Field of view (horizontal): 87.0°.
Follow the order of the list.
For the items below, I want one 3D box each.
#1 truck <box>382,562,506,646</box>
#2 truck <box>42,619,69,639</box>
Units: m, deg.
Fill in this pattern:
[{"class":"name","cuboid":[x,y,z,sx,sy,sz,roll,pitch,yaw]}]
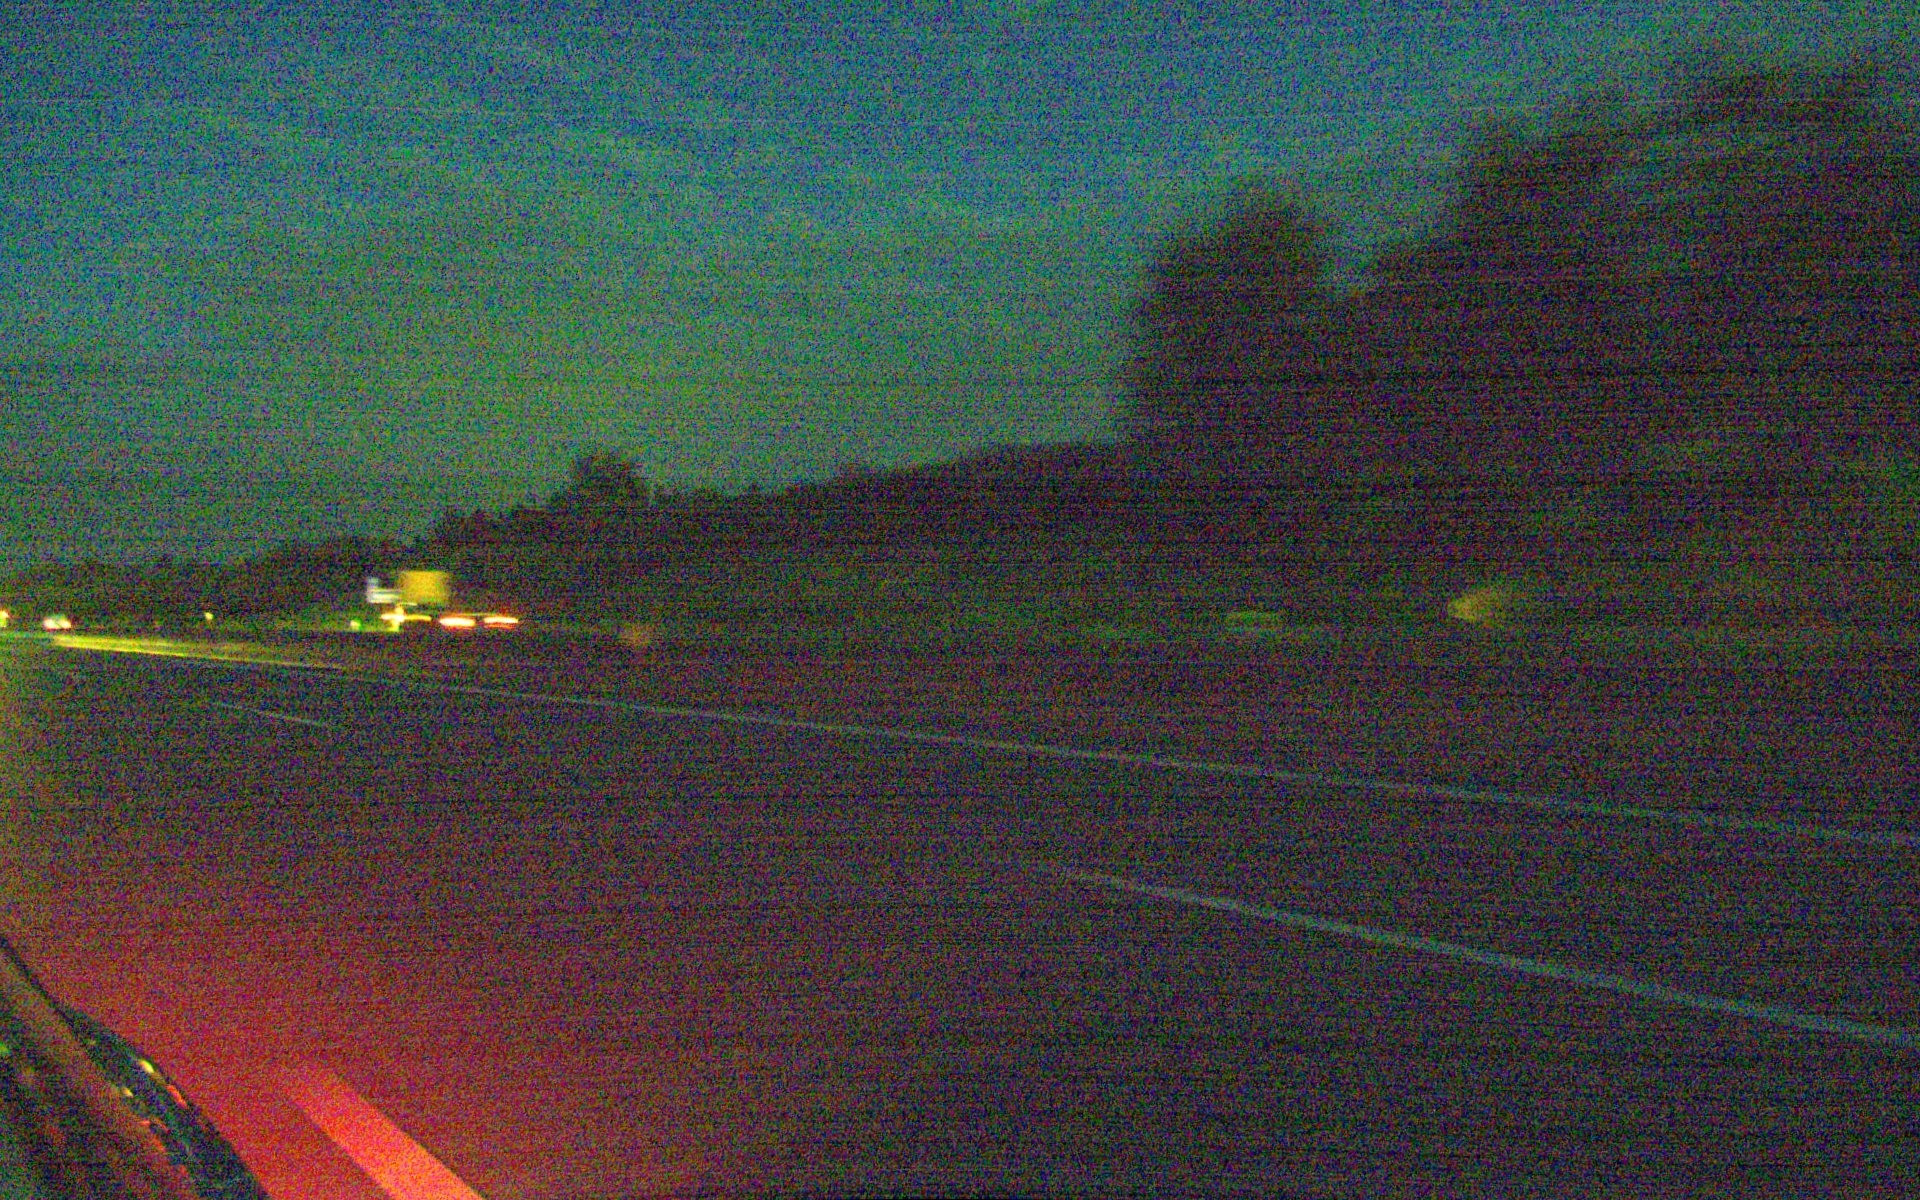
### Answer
[{"class":"truck","cuboid":[-26.126,0.266,50.966,9.063,3.881,2.492,-2,-1,43]},{"class":"truck","cuboid":[-135.522,4.343,151.561,7.623,2.746,2.173,-3,2,43]}]
